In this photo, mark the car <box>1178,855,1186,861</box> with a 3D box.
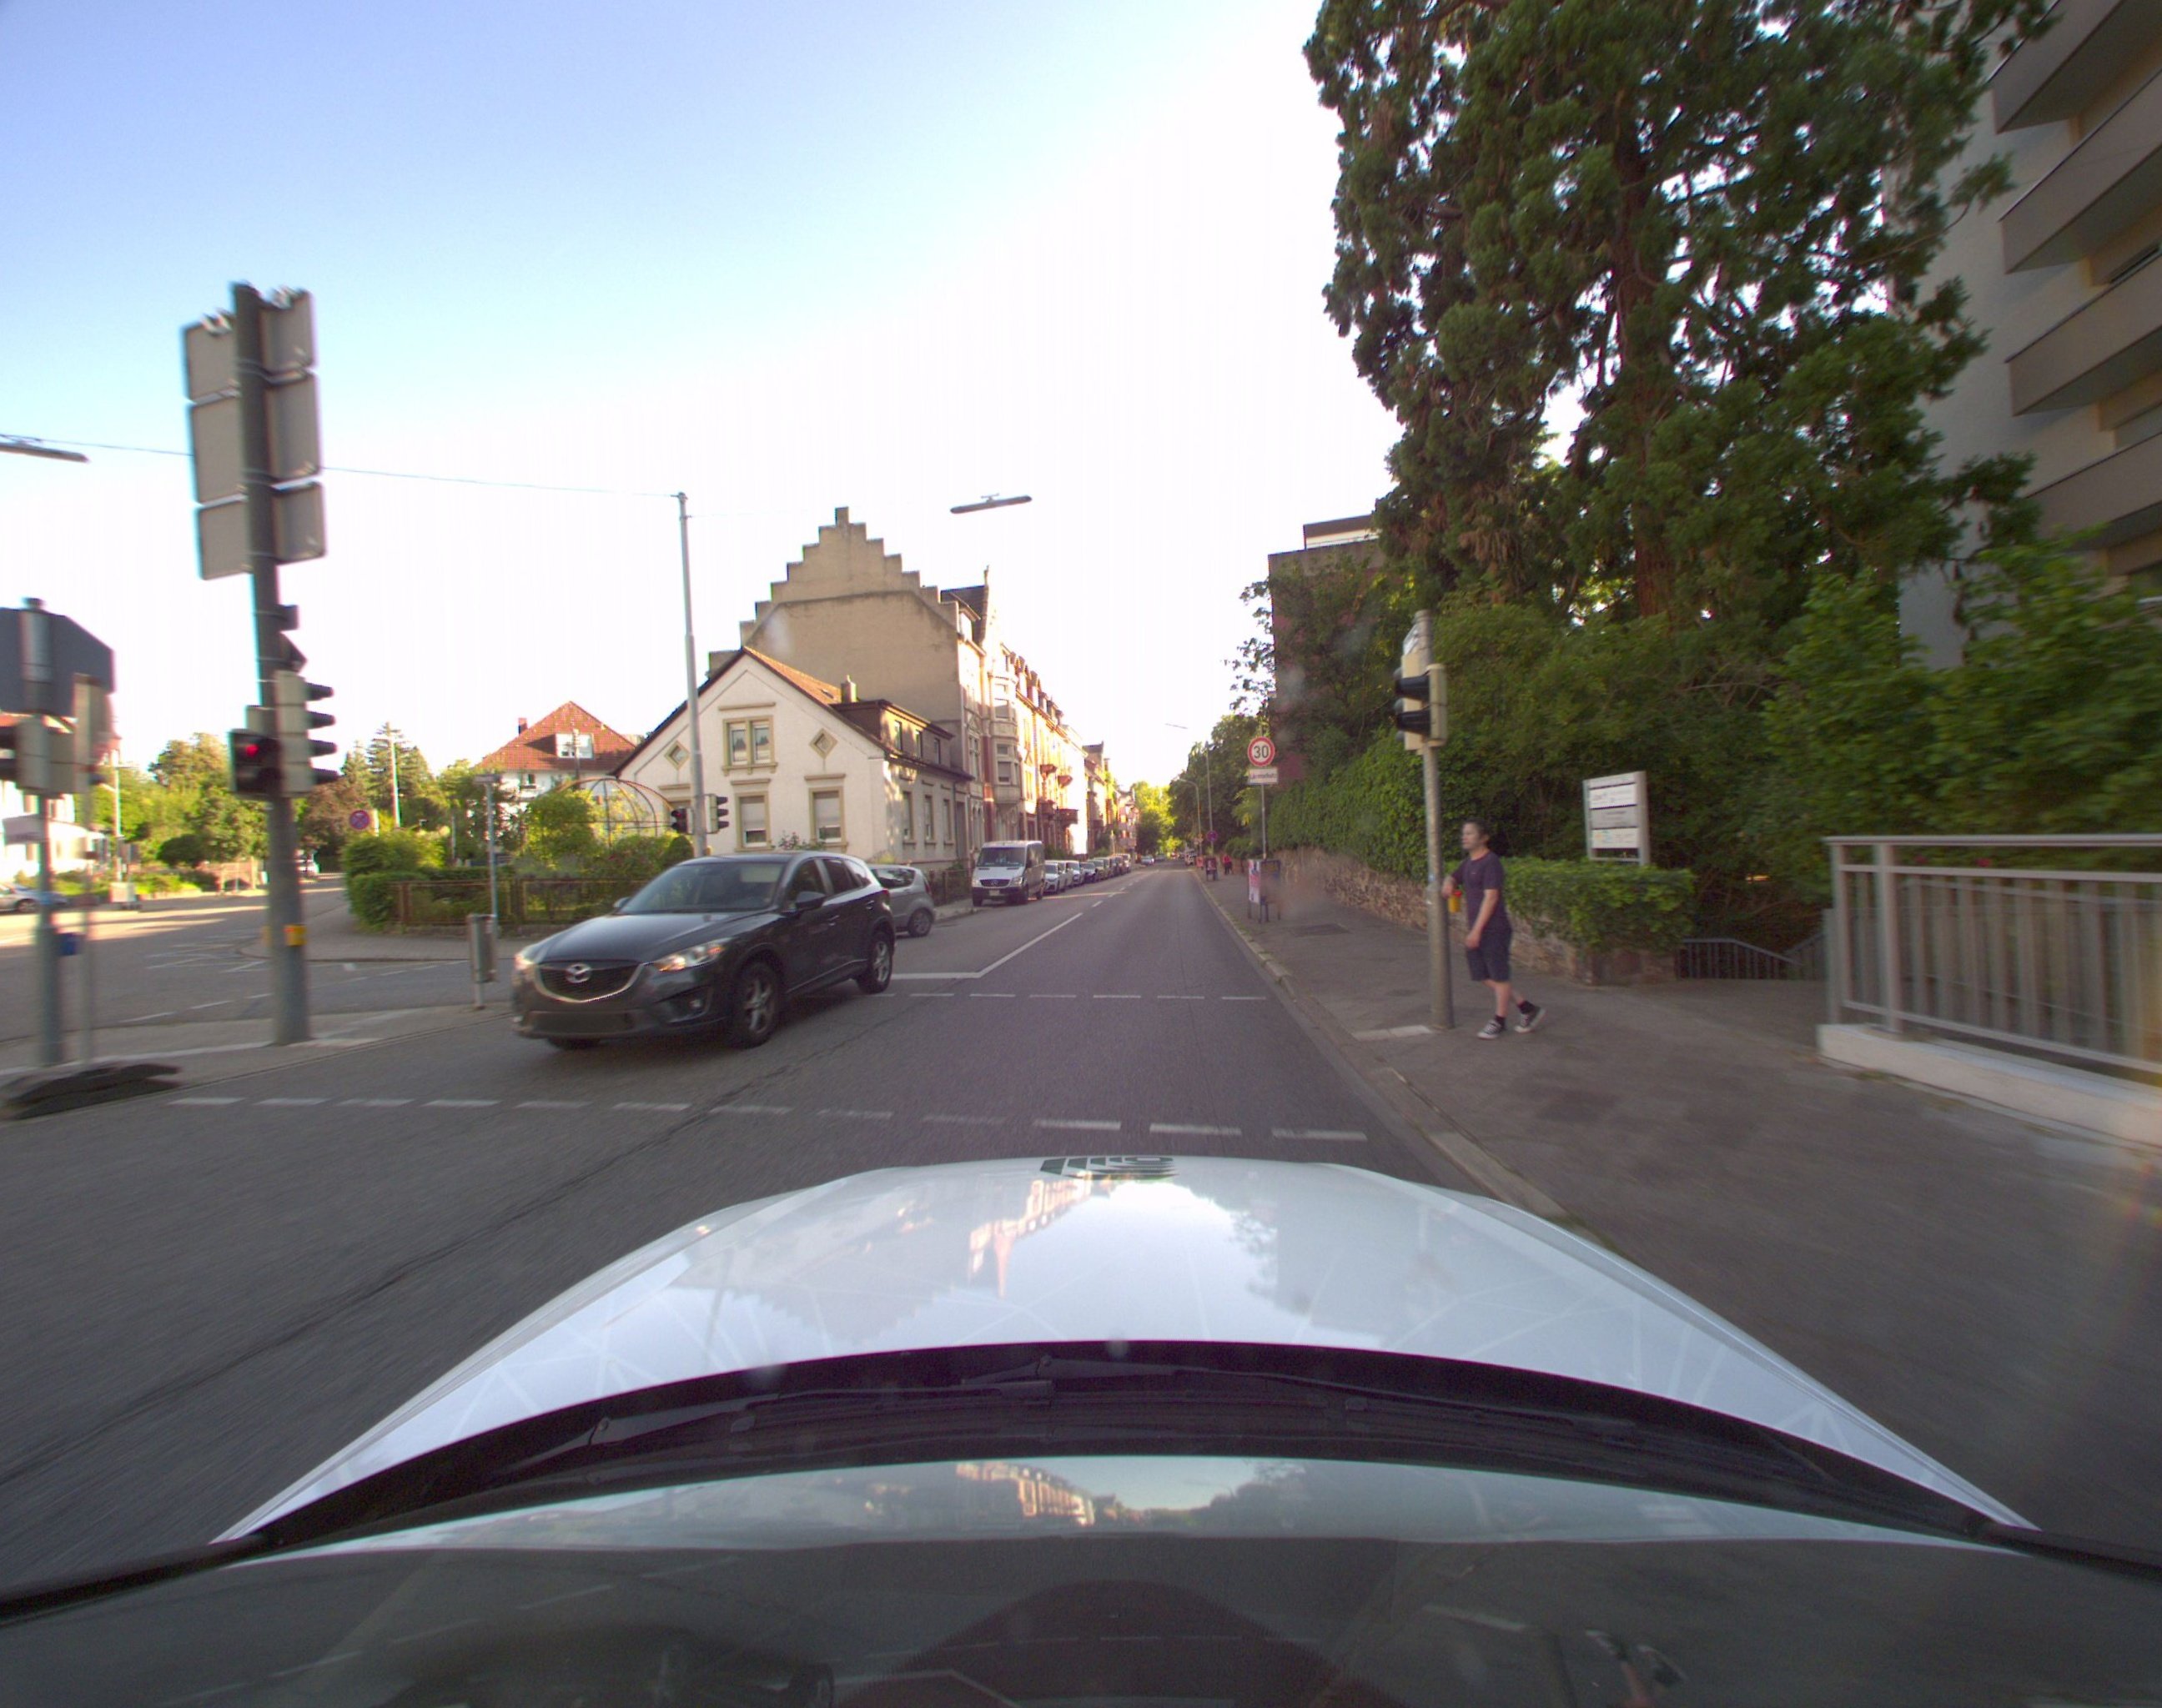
[{"bbox_3d":[28.954,1.210,233.577,1.985,1.491,4.475,-3,1,4],"label":"car"}]

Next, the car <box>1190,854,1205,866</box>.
[{"bbox_3d":[16.002,0.805,111.765,1.982,1.517,4.010,-3,1,8],"label":"car"}]

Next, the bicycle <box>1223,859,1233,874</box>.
[{"bbox_3d":[9.746,0.832,53.946,0.563,0.970,0.493,-2,1,6],"label":"bicycle"}]

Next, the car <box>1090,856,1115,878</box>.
[{"bbox_3d":[1.704,1.019,63.477,1.694,1.584,3.641,-2,0,6],"label":"car"}]

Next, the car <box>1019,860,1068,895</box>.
[{"bbox_3d":[-1.701,1.063,38.208,1.694,1.503,3.829,-2,0,6],"label":"car"}]

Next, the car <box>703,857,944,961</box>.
[{"bbox_3d":[-4.950,0.960,16.266,1.934,1.648,4.311,-1,1,33],"label":"car"}]

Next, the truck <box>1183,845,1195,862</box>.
[{"bbox_3d":[20.296,-0.132,152.926,1.983,2.896,4.479,-3,0,7],"label":"truck"}]

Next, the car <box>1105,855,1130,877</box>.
[{"bbox_3d":[3.098,0.967,68.635,1.693,1.707,4.450,-2,0,8],"label":"car"}]

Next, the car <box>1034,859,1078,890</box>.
[{"bbox_3d":[-1.286,1.067,43.671,1.693,1.503,4.029,-2,0,7],"label":"car"}]

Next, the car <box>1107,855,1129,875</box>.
[{"bbox_3d":[3.338,0.977,73.463,1.694,1.738,3.863,-2,0,6],"label":"car"}]

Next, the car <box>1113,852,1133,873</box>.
[{"bbox_3d":[4.400,0.871,84.380,1.784,2.010,4.705,-2,0,6],"label":"car"}]

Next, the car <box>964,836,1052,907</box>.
[{"bbox_3d":[-2.672,0.599,31.546,2.056,2.460,6.027,-2,0,7],"label":"car"}]

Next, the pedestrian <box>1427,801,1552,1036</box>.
[{"bbox_3d":[3.130,0.473,6.294,0.599,1.693,0.613,-4,0,6],"label":"pedestrian"}]

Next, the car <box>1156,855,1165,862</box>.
[{"bbox_3d":[20.627,1.100,211.311,1.983,1.491,4.479,-3,1,7],"label":"car"}]

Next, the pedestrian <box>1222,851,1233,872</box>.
[{"bbox_3d":[9.819,0.506,54.538,0.595,1.403,0.669,-2,1,5],"label":"pedestrian"}]

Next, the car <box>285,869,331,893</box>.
[{"bbox_3d":[-70.882,2.419,74.741,2.006,2.013,3.963,-2,1,-29],"label":"car"}]

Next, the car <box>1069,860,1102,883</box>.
[{"bbox_3d":[0.332,1.108,53.459,1.694,1.366,3.866,-2,0,6],"label":"car"}]

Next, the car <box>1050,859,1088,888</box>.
[{"bbox_3d":[-0.661,1.111,48.292,1.694,1.536,4.557,-2,0,6],"label":"car"}]

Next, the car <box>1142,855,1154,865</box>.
[{"bbox_3d":[11.932,1.097,145.047,1.983,1.491,4.479,-3,1,7],"label":"car"}]

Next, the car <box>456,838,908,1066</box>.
[{"bbox_3d":[-3.420,0.698,8.127,1.943,1.648,4.292,-2,1,7],"label":"car"}]

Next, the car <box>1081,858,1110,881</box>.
[{"bbox_3d":[1.099,1.120,58.493,1.694,1.503,4.079,-2,-1,6],"label":"car"}]
